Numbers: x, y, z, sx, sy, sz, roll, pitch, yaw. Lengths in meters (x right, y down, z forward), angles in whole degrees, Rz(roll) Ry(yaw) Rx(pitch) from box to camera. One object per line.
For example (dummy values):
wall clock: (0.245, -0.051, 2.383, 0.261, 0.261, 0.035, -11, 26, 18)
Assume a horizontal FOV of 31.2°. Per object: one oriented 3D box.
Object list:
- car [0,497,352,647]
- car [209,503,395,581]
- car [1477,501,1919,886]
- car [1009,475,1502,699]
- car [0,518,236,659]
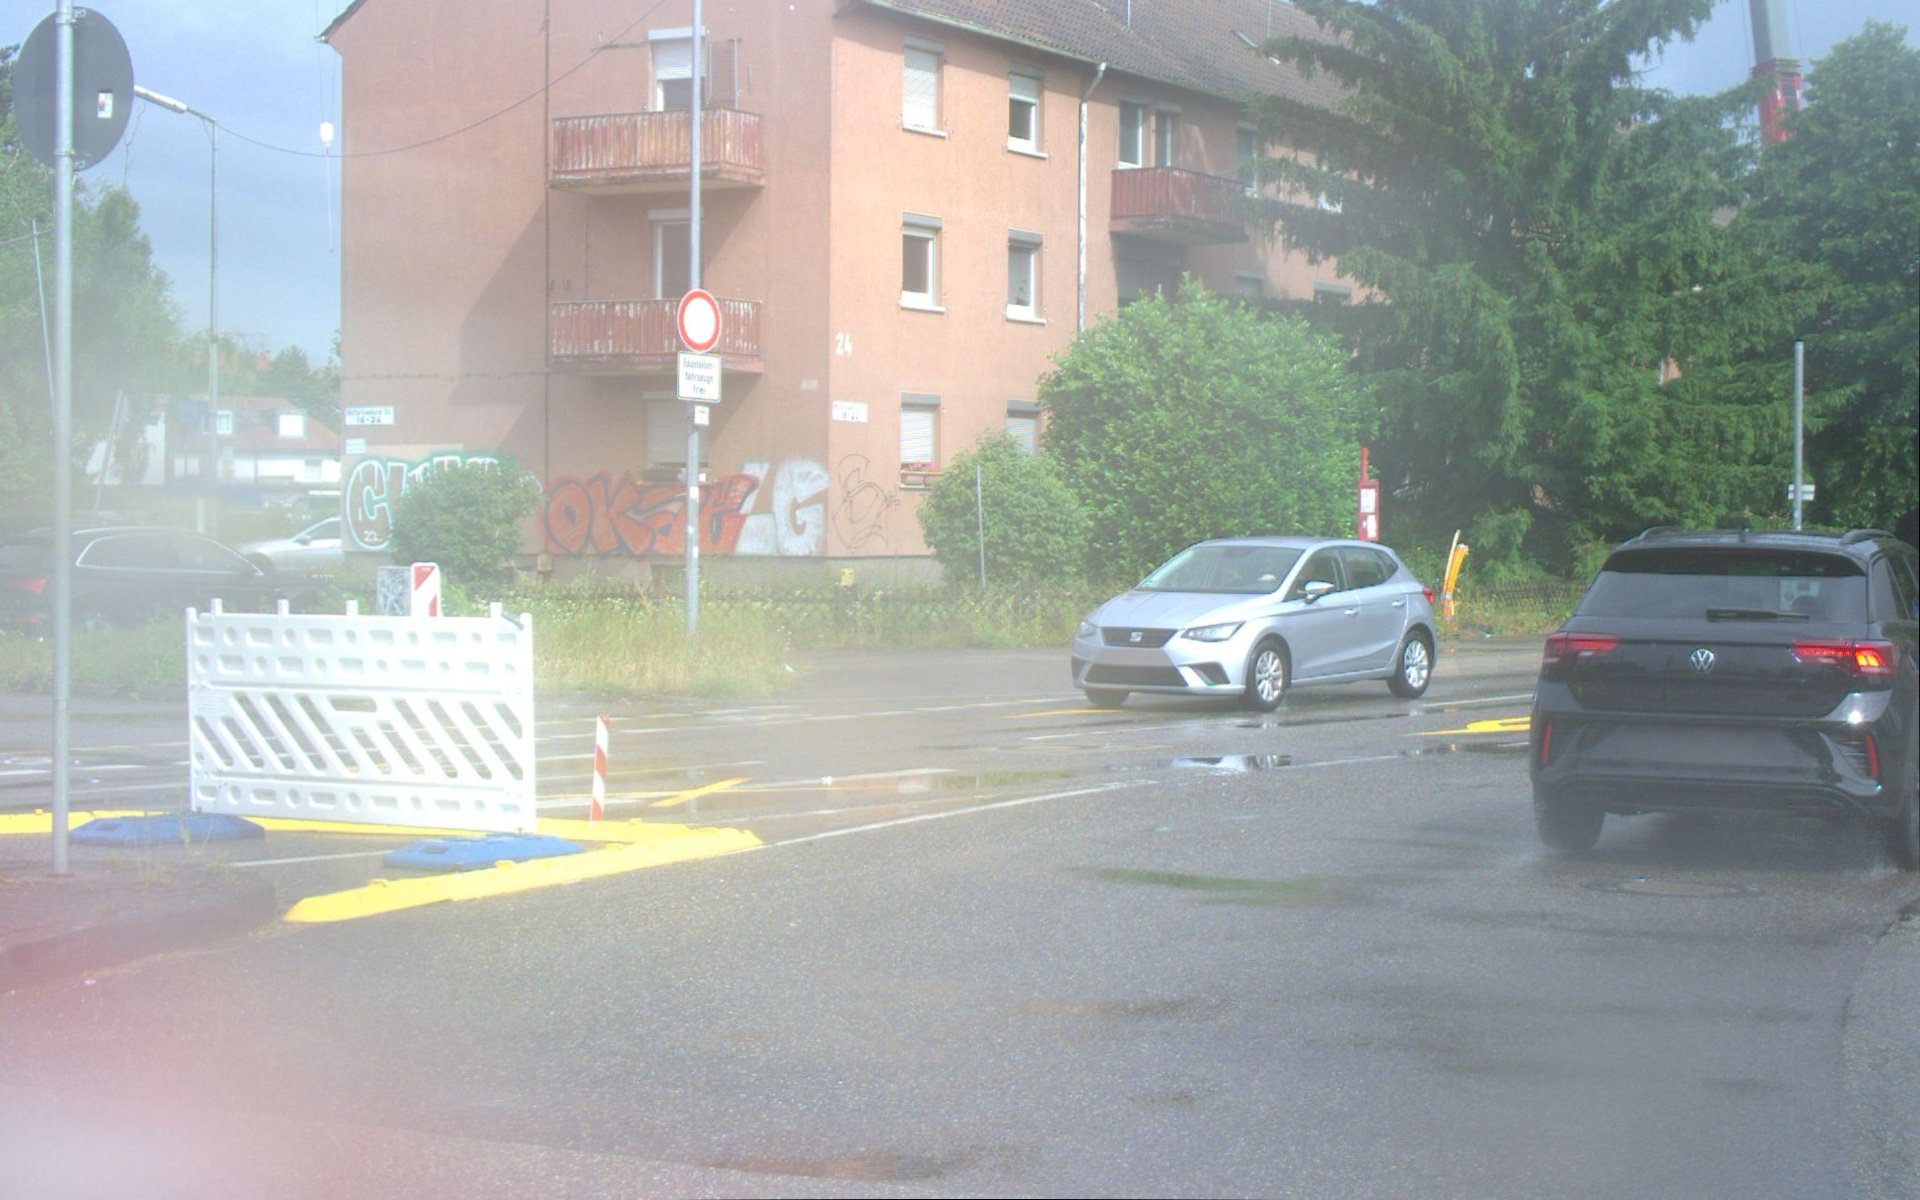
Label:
car: (-9.077, -0.328, 38.830, 4.045, 1.627, 1.617, 0, 1, -28)
car: (-13.148, -1.167, 68.823, 3.509, 1.514, 1.617, 0, 1, -5)
car: (3.869, 0.361, 17.133, 1.899, 1.612, 3.997, 2, 2, 17)
car: (2.674, -0.168, 30.075, 2.080, 1.726, 4.688, 4, 4, 37)
car: (-10.810, -0.149, 40.819, 4.045, 1.627, 1.617, 0, 1, -28)
